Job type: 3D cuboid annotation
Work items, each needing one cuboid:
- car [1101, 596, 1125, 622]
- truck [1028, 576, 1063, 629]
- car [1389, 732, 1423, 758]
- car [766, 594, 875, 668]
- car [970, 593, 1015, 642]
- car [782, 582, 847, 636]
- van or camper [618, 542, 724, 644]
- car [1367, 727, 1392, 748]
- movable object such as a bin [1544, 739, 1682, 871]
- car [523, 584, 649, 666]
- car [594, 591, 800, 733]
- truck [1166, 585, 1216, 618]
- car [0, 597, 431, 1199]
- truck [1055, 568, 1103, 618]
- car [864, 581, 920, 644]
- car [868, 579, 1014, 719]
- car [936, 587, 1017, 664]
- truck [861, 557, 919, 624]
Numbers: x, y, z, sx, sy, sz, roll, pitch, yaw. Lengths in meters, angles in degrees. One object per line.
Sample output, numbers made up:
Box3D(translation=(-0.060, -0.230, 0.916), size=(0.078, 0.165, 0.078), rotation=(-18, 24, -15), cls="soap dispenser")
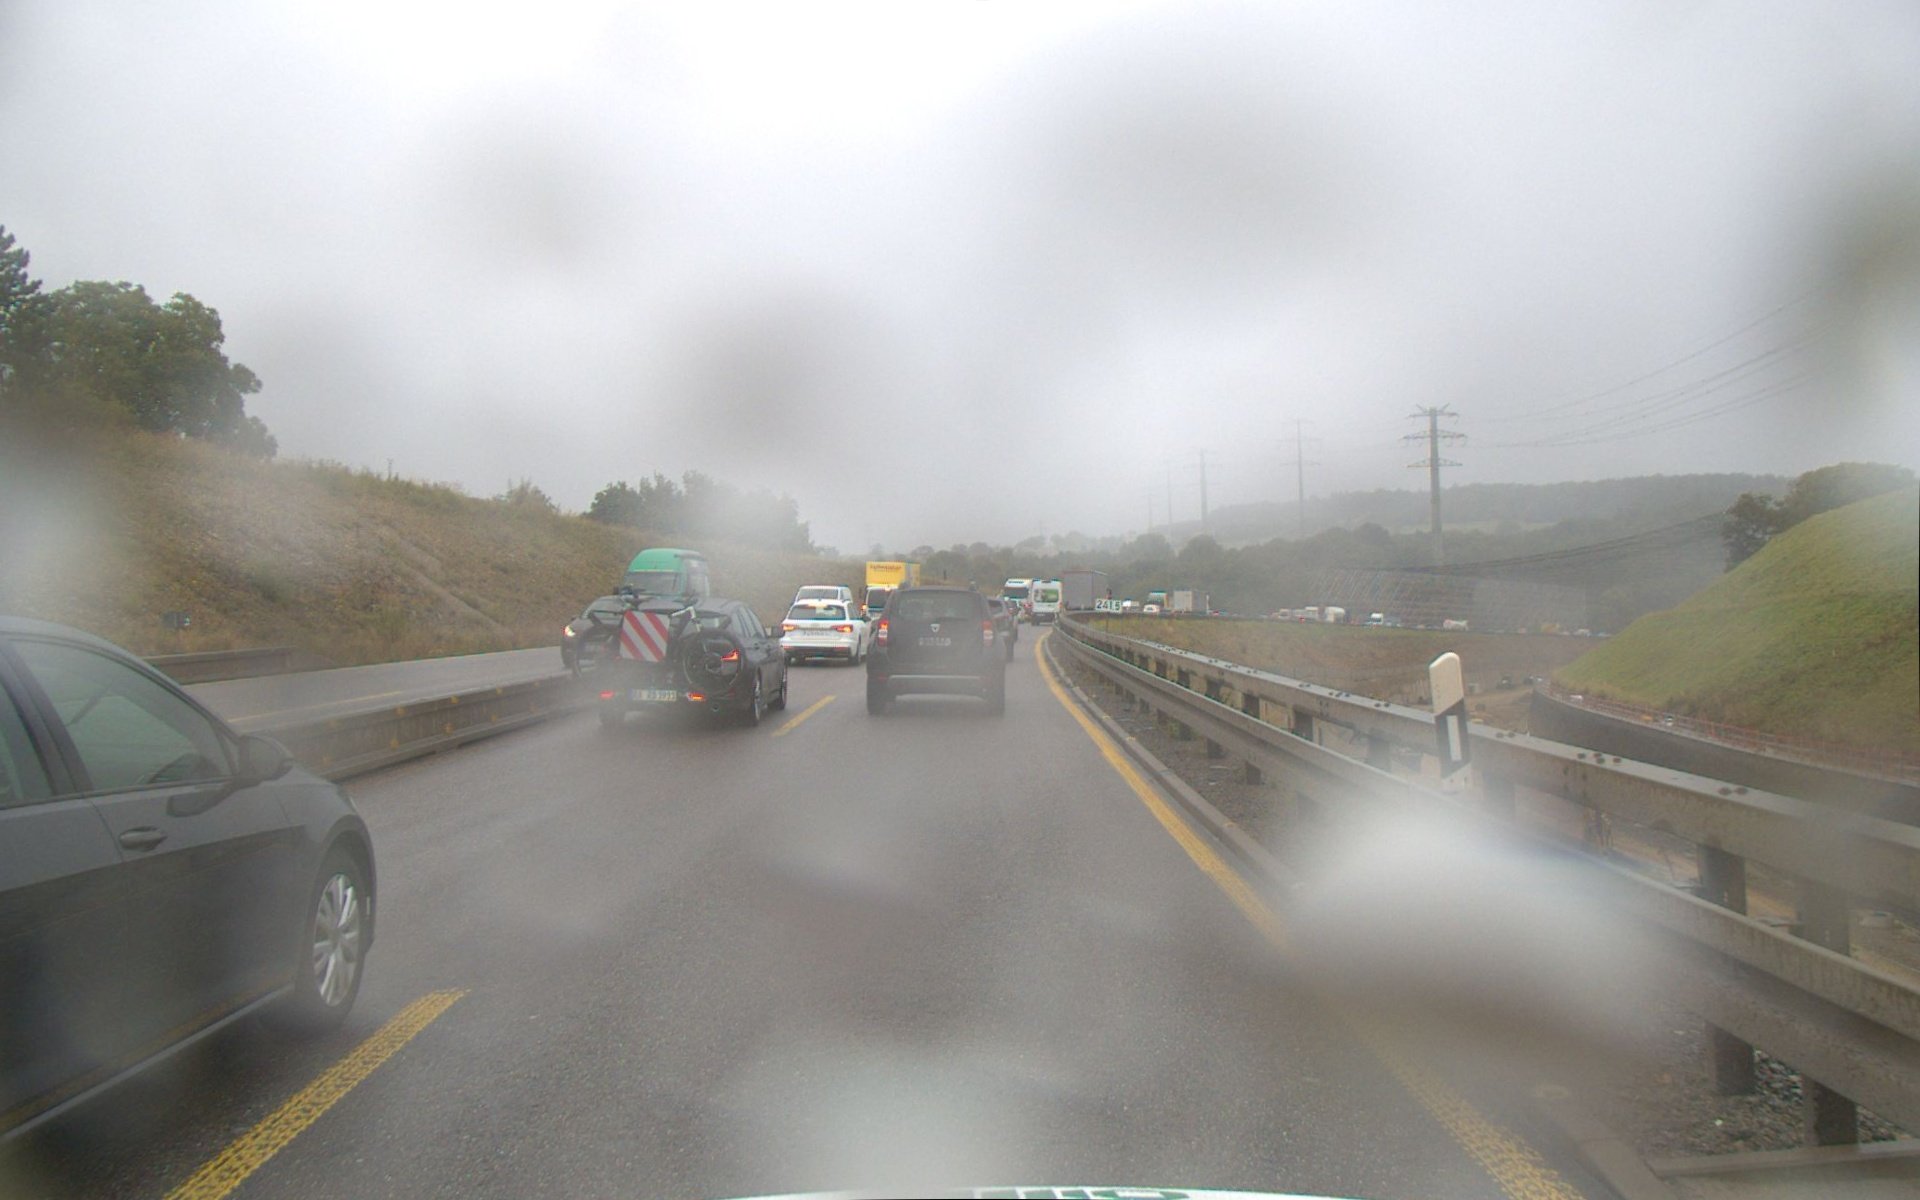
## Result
Box3D(translation=(11.967, 0.686, 129.130), size=(1.737, 1.949, 4.003), rotation=(2, 0, 7), cls="car")
Box3D(translation=(5.533, 0.151, 106.964), size=(2.104, 3.221, 6.462), rotation=(2, 0, 4), cls="truck")
Box3D(translation=(42.524, 13.838, 157.932), size=(2.316, 2.049, 4.002), rotation=(2, 0, 3), cls="car")
Box3D(translation=(-3.038, 0.646, 36.888), size=(1.829, 1.486, 4.550), rotation=(2, 0, 2), cls="car")
Box3D(translation=(1.162, 0.611, 59.496), size=(1.499, 1.669, 4.013), rotation=(2, 0, 1), cls="car")
Box3D(translation=(-5.545, 0.314, 63.457), size=(1.959, 1.920, 5.274), rotation=(2, 0, 0), cls="car")
Box3D(translation=(-8.739, -0.209, 50.628), size=(2.057, 2.867, 5.943), rotation=(2, 0, 1), cls="van or camper")
Box3D(translation=(44.462, 14.534, 175.421), size=(1.951, 1.847, 4.002), rotation=(1, 0, 5), cls="car")
Box3D(translation=(23.051, 7.178, 58.633), size=(3.148, 3.934, 4.123), rotation=(3, 1, 1), cls="movable object such as a bin")
Box3D(translation=(-7.760, 0.486, 34.687), size=(1.678, 1.563, 4.046), rotation=(2, 0, 0), cls="car")
Box3D(translation=(-3.006, 0.669, 19.629), size=(1.791, 1.502, 3.776), rotation=(0, 0, 0), cls="car")
Box3D(translation=(31.505, 0.223, 224.657), size=(4.617, 4.222, 15.693), rotation=(2, 0, 15), cls="truck")
Box3D(translation=(-2.786, 0.775, 4.111), size=(1.581, 1.532, 4.367), rotation=(-1, 0, -1), cls="car")
Box3D(translation=(9.693, -0.521, 133.903), size=(3.132, 3.827, 8.516), rotation=(2, 0, 9), cls="truck")
Box3D(translation=(-2.173, 0.385, 53.495), size=(1.626, 1.912, 4.019), rotation=(2, 0, -1), cls="car")
Box3D(translation=(-0.179, 0.597, 21.980), size=(1.767, 1.674, 3.777), rotation=(0, 0, 1), cls="car")
Box3D(translation=(0.430, 0.579, 40.185), size=(1.829, 1.738, 4.001), rotation=(1, 0, 1), cls="car")
Box3D(translation=(-4.394, -0.617, 105.673), size=(2.710, 4.066, 8.427), rotation=(1, 0, 4), cls="truck")
